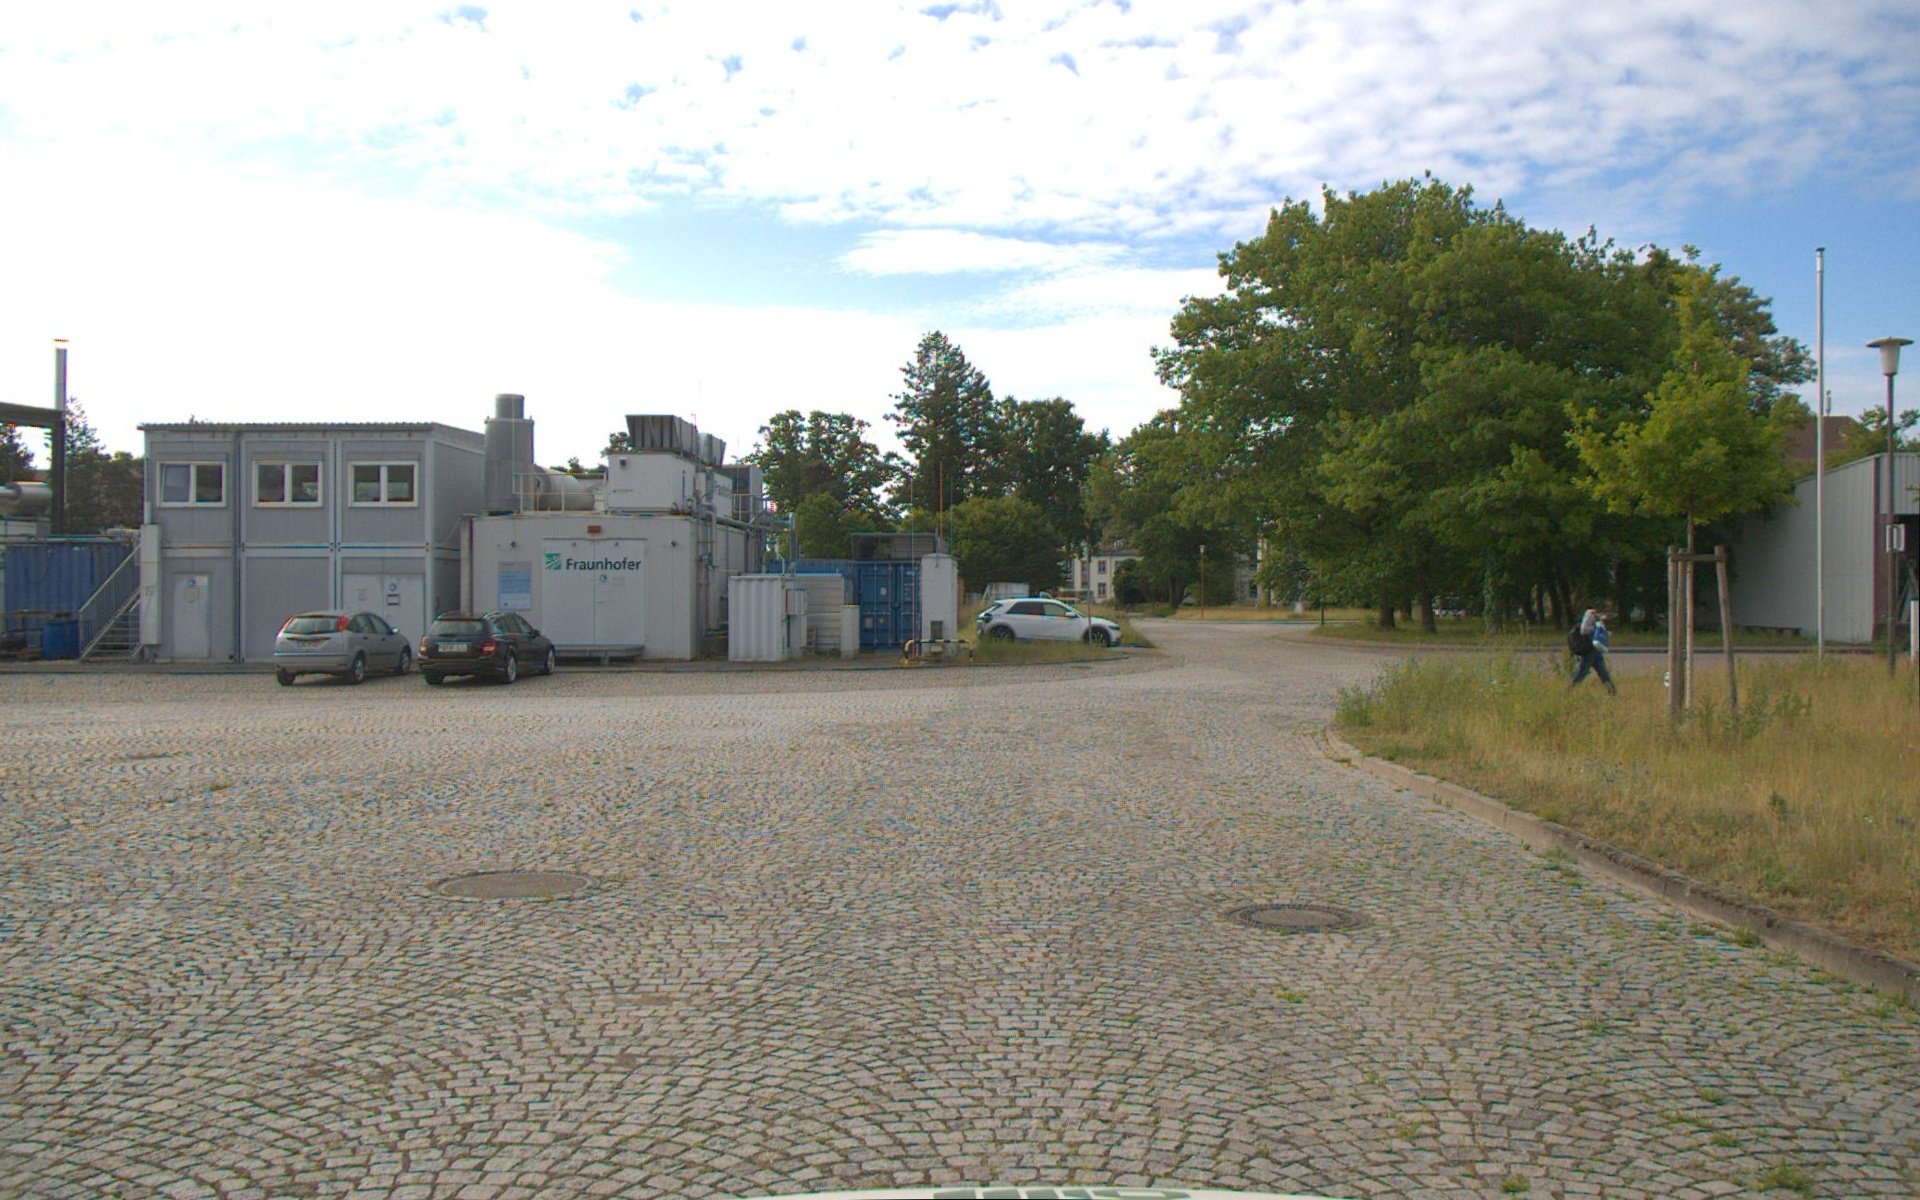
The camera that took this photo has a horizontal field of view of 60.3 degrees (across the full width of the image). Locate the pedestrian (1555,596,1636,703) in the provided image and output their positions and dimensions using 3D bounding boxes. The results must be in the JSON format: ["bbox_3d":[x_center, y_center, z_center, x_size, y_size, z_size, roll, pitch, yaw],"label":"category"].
[{"bbox_3d":[9.716,0.744,25.262,1.054,1.584,1.074,-1,-1,26],"label":"pedestrian"}]

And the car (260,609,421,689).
[{"bbox_3d":[-13.143,0.995,35.344,1.867,1.501,4.047,0,1,0],"label":"car"}]

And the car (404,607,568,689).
[{"bbox_3d":[-9.936,0.969,35.040,1.994,1.478,4.532,0,1,2],"label":"car"}]

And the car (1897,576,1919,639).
[{"bbox_3d":[32.709,0.235,53.220,2.195,2.049,5.337,0,0,1],"label":"car"}]

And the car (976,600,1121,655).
[{"bbox_3d":[2.782,0.846,51.606,4.438,1.627,2.001,0,0,5],"label":"car"}]

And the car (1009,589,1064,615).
[{"bbox_3d":[7.074,0.163,153.144,5.063,2.378,2.000,0,0,2],"label":"car"}]
